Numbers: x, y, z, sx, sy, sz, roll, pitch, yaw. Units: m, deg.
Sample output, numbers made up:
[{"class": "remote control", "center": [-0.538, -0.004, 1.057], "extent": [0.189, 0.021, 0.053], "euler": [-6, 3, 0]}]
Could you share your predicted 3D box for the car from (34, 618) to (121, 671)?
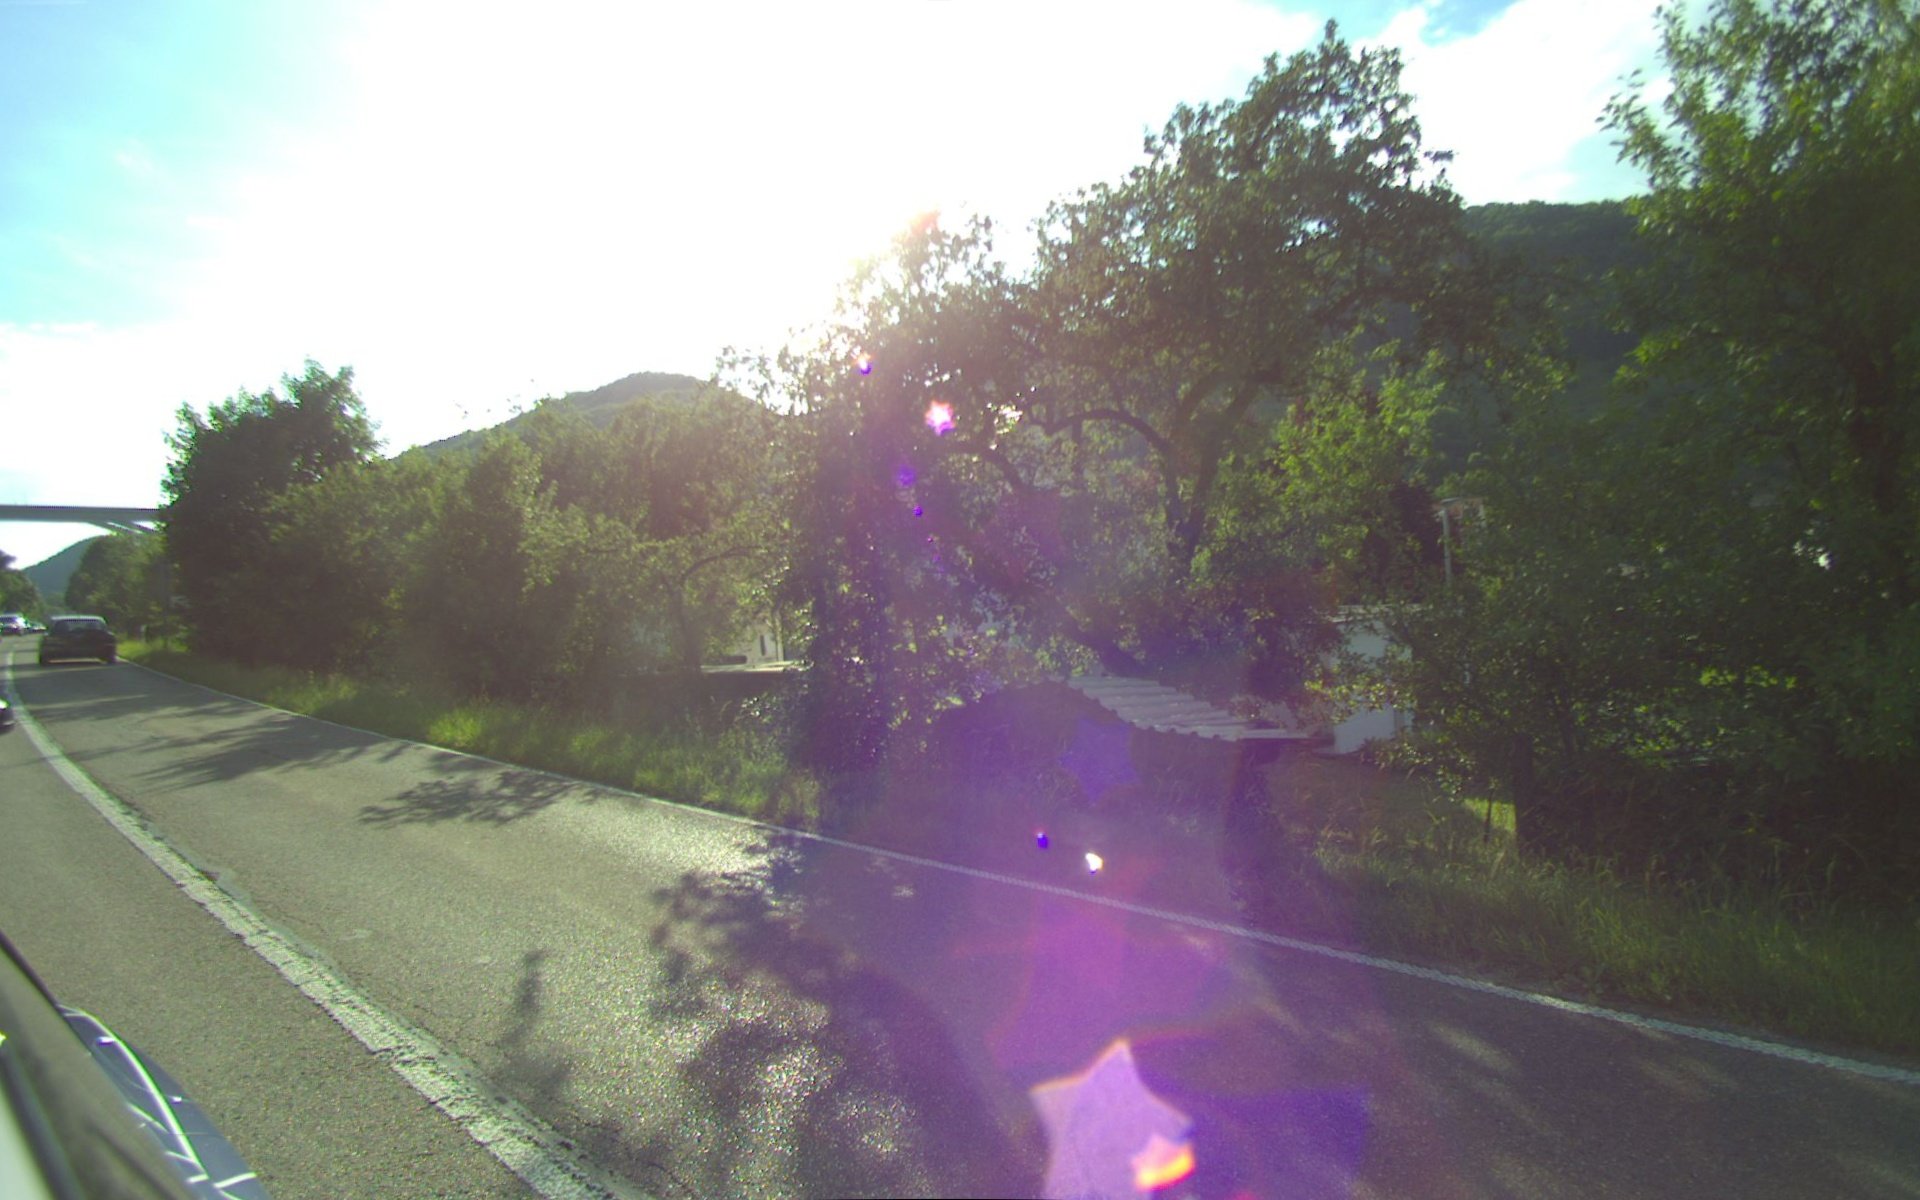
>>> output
[{"class": "car", "center": [-26.899, 1.304, 30.812], "extent": [4.052, 1.441, 1.685], "euler": [-1, 0, 44]}]

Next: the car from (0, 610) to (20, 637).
[{"class": "car", "center": [-74.787, 1.821, 79.093], "extent": [1.970, 2.029, 4.004], "euler": [-1, 0, -43]}]
